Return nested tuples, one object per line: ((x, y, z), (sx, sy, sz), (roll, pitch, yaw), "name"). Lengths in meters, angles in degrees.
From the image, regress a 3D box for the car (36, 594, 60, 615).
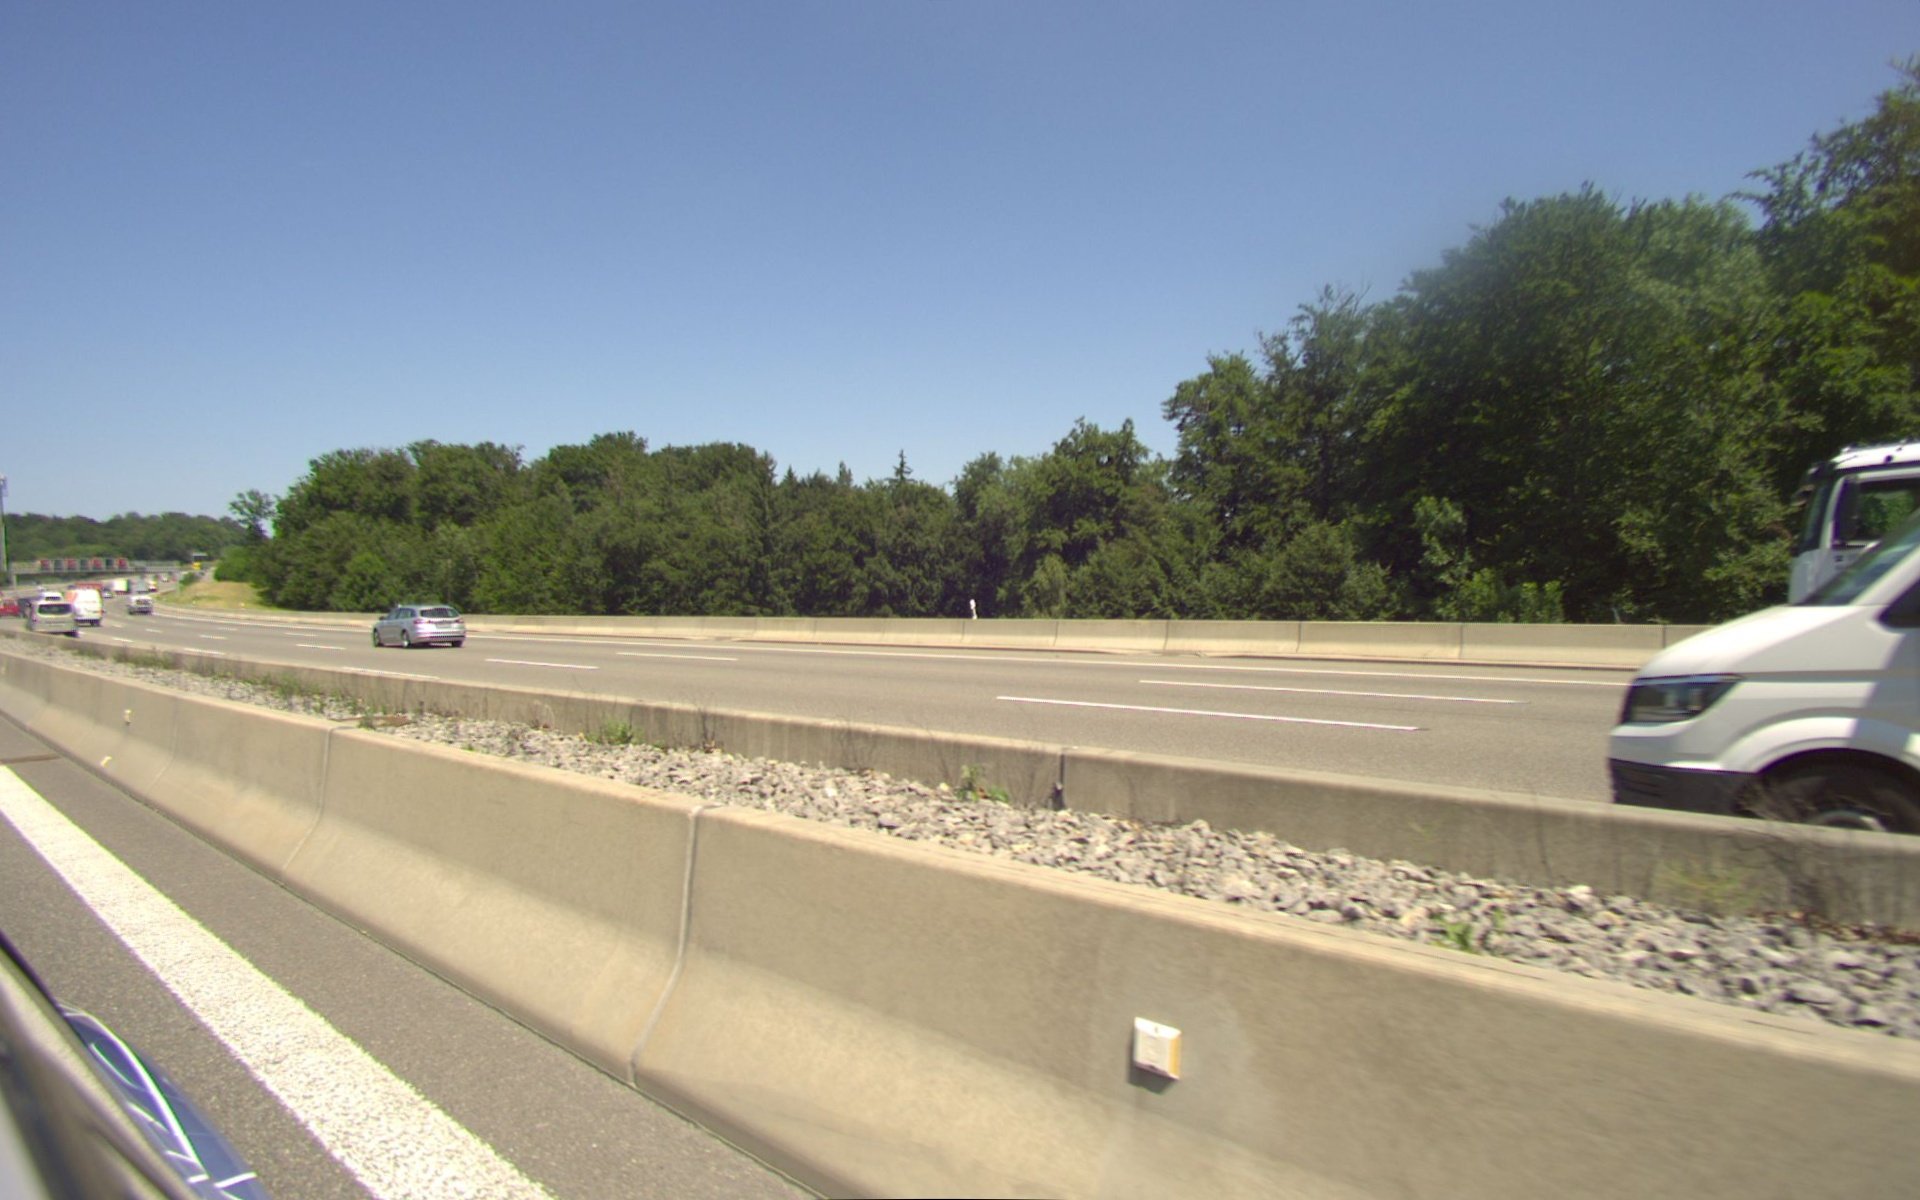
((-111.283, 0.560, 123.473), (4.595, 2.318, 1.971), (2, 3, 45), "car")

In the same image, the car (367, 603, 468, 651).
((-19.037, 0.898, 35.430), (4.494, 1.493, 1.744), (0, 1, 43), "car")

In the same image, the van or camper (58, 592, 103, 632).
((-64.964, 0.874, 74.692), (1.971, 2.821, 7.418), (-1, 0, -45), "van or camper")

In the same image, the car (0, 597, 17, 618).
((-98.546, 0.757, 104.159), (4.642, 1.997, 1.885), (1, 2, 44), "car")

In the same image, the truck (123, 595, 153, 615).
((-96.773, 0.552, 119.068), (2.023, 2.271, 8.832), (-2, 2, -43), "truck")

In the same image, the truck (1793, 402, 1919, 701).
((14.879, -0.613, 10.257), (9.878, 3.491, 2.583), (0, 1, 41), "truck")

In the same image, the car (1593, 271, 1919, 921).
((6.200, -0.087, 3.720), (6.303, 2.709, 2.076), (-2, 0, 40), "car")

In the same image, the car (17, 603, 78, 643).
((-45.017, 1.095, 49.903), (4.588, 1.885, 1.799), (-1, 0, 43), "car")

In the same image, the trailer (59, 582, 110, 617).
((-115.268, -0.147, 133.087), (14.482, 4.312, 3.793), (0, 2, 44), "trailer")
